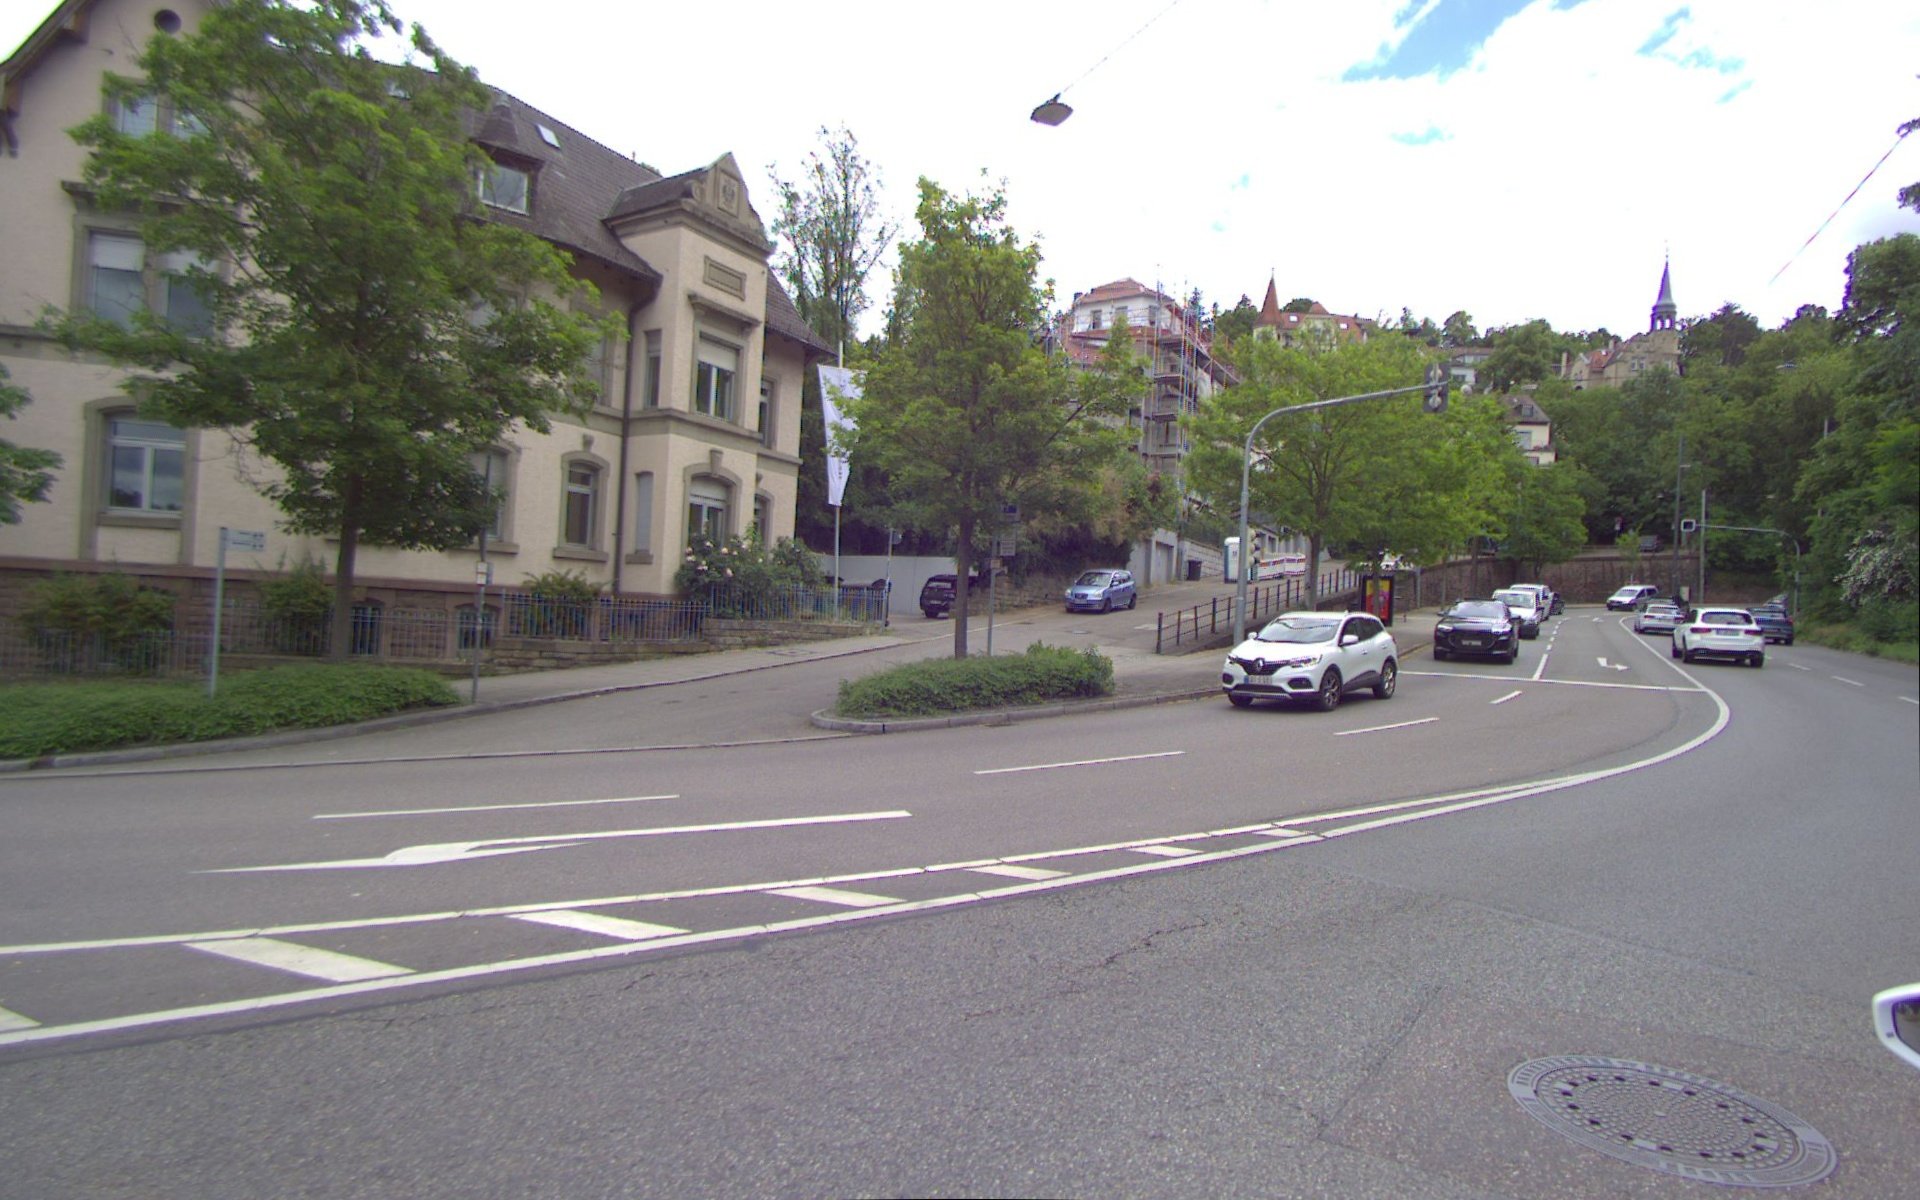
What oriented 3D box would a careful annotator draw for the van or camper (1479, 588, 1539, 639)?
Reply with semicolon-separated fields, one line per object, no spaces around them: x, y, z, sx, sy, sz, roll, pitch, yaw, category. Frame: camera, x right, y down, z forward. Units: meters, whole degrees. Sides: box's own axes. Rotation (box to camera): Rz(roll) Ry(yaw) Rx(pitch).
22.976;0.505;41.929;1.965;1.921;5.445;2;2;31;van or camper

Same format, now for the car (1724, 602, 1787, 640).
35.568;0.928;44.983;1.835;1.653;3.948;-1;-1;33;car

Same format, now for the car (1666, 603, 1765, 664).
22.594;0.962;30.184;1.850;1.674;4.332;0;0;30;car

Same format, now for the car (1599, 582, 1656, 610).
49.599;-0.291;74.584;4.241;1.822;1.934;3;3;-33;car

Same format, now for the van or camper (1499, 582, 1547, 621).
32.582;0.056;58.074;1.966;2.041;5.545;3;2;33;van or camper

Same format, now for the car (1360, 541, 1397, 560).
32.386;-3.793;77.759;1.534;1.296;3.578;1;1;43;car

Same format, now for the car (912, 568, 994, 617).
-0.211;-0.234;38.955;1.960;1.795;4.001;-1;-1;19;car

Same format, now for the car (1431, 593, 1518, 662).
14.945;0.758;29.050;1.869;1.815;4.748;-1;-1;31;car

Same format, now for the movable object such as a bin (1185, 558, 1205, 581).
12.003;-1.560;51.296;0.793;1.056;0.837;-3;-2;26;movable object such as a bin

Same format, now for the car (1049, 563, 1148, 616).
5.099;-0.438;36.630;1.967;1.595;3.985;4;6;35;car

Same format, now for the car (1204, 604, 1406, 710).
6.330;0.929;18.162;1.875;1.676;4.351;-1;-1;43;car

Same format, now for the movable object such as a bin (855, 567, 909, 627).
-2.358;-0.098;30.330;0.989;1.706;1.204;0;6;-43;movable object such as a bin

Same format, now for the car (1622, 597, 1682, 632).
33.688;0.661;48.839;2.219;1.539;4.291;2;1;37;car

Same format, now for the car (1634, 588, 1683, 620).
45.982;0.306;66.104;2.166;2.040;3.977;-1;-1;43;car

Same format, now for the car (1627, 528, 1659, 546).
63.595;-5.860;93.488;1.971;1.506;3.978;2;5;42;car

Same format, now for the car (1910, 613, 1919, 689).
20.109;1.080;19.322;1.838;1.577;3.886;2;0;31;car

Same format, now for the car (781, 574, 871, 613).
-5.711;-0.253;43.236;1.810;1.584;3.806;0;0;34;car

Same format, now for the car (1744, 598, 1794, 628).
56.116;0.893;69.631;3.967;2.040;1.977;0;-1;-40;car
